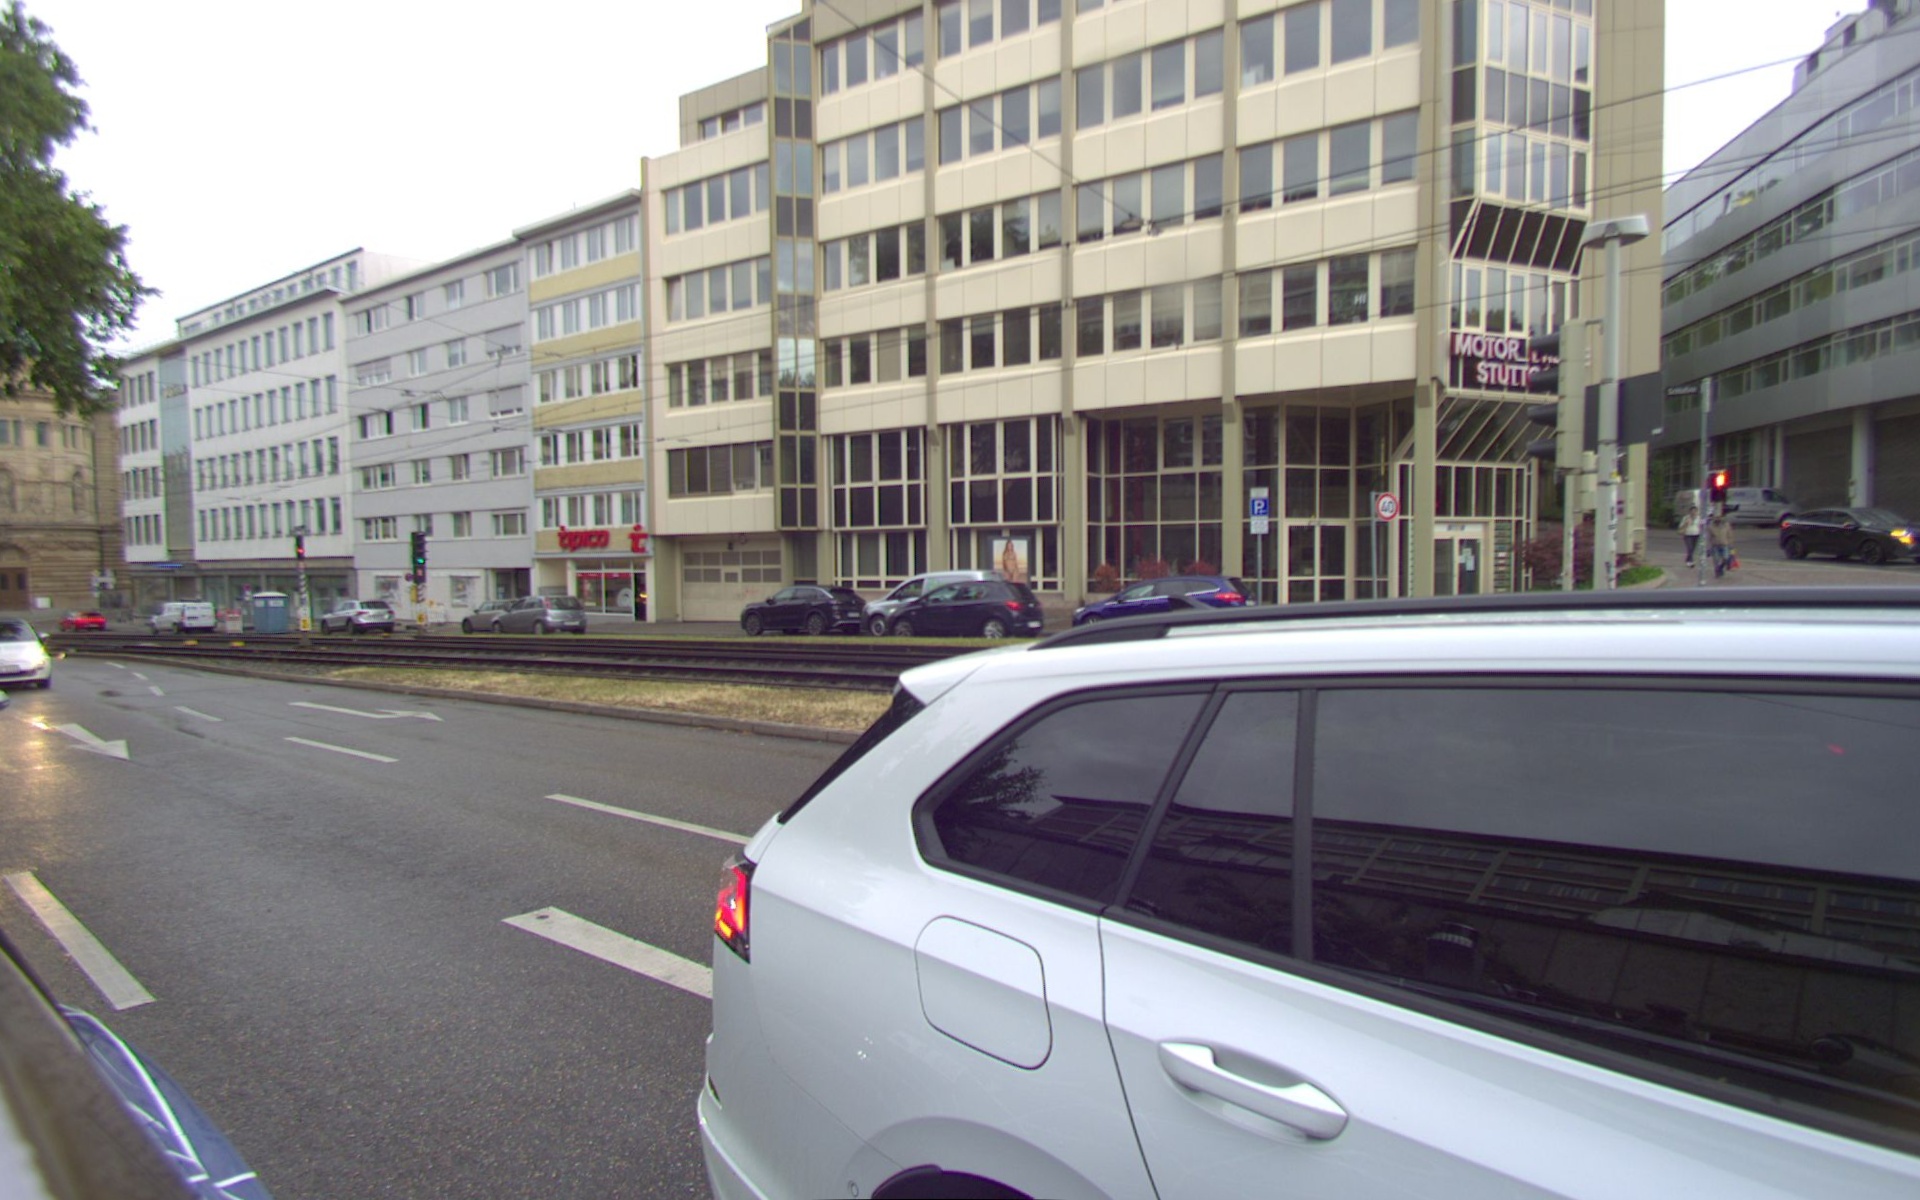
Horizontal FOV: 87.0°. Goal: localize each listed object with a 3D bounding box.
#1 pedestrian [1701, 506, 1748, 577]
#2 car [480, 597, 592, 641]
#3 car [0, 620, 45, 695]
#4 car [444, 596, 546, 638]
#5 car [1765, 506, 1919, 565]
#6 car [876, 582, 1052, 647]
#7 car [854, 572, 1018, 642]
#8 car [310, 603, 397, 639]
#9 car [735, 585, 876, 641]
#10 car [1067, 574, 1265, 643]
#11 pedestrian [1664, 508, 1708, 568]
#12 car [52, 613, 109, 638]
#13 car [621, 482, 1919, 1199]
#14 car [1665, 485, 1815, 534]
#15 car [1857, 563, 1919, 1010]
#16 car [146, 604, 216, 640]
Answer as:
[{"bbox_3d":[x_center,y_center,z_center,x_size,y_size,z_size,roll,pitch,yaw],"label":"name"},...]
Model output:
[{"bbox_3d":[19.908,-1.517,26.363,0.826,1.800,0.754,-1,3,24],"label":"pedestrian"},{"bbox_3d":[-14.375,0.639,34.236,3.861,1.367,1.614,-1,2,34],"label":"car"},{"bbox_3d":[-20.159,1.160,20.778,3.438,1.445,1.633,-1,0,41],"label":"car"},{"bbox_3d":[-18.721,0.673,40.709,4.066,1.524,1.782,-1,3,34],"label":"car"},{"bbox_3d":[27.523,-2.045,31.014,1.974,1.591,4.884,-2,5,3],"label":"car"},{"bbox_3d":[0.063,0.338,23.859,3.858,1.367,1.615,-1,2,32],"label":"car"},{"bbox_3d":[-0.682,0.176,27.867,4.204,1.759,1.782,-1,2,33],"label":"car"},{"bbox_3d":[-28.318,0.957,47.211,4.066,1.524,1.869,-1,3,34],"label":"car"},{"bbox_3d":[-4.723,0.385,30.756,4.066,1.524,1.782,-1,3,34],"label":"car"},{"bbox_3d":[4.810,0.198,23.852,4.207,1.488,1.780,-1,0,35],"label":"car"},{"bbox_3d":[20.654,-1.768,28.799,0.711,1.651,0.759,-2,3,6],"label":"pedestrian"},{"bbox_3d":[-62.215,1.789,71.559,4.465,1.636,1.869,-1,3,34],"label":"car"},{"bbox_3d":[1.604,0.627,1.163,4.473,1.453,1.777,-1,0,41],"label":"car"},{"bbox_3d":[37.619,-4.340,48.941,5.357,2.029,1.993,-1,0,12],"label":"car"},{"bbox_3d":[5.294,0.578,2.561,4.473,1.453,1.777,-1,0,41],"label":"car"},{"bbox_3d":[-46.557,1.298,60.454,4.465,1.949,1.869,-1,3,34],"label":"car"}]
